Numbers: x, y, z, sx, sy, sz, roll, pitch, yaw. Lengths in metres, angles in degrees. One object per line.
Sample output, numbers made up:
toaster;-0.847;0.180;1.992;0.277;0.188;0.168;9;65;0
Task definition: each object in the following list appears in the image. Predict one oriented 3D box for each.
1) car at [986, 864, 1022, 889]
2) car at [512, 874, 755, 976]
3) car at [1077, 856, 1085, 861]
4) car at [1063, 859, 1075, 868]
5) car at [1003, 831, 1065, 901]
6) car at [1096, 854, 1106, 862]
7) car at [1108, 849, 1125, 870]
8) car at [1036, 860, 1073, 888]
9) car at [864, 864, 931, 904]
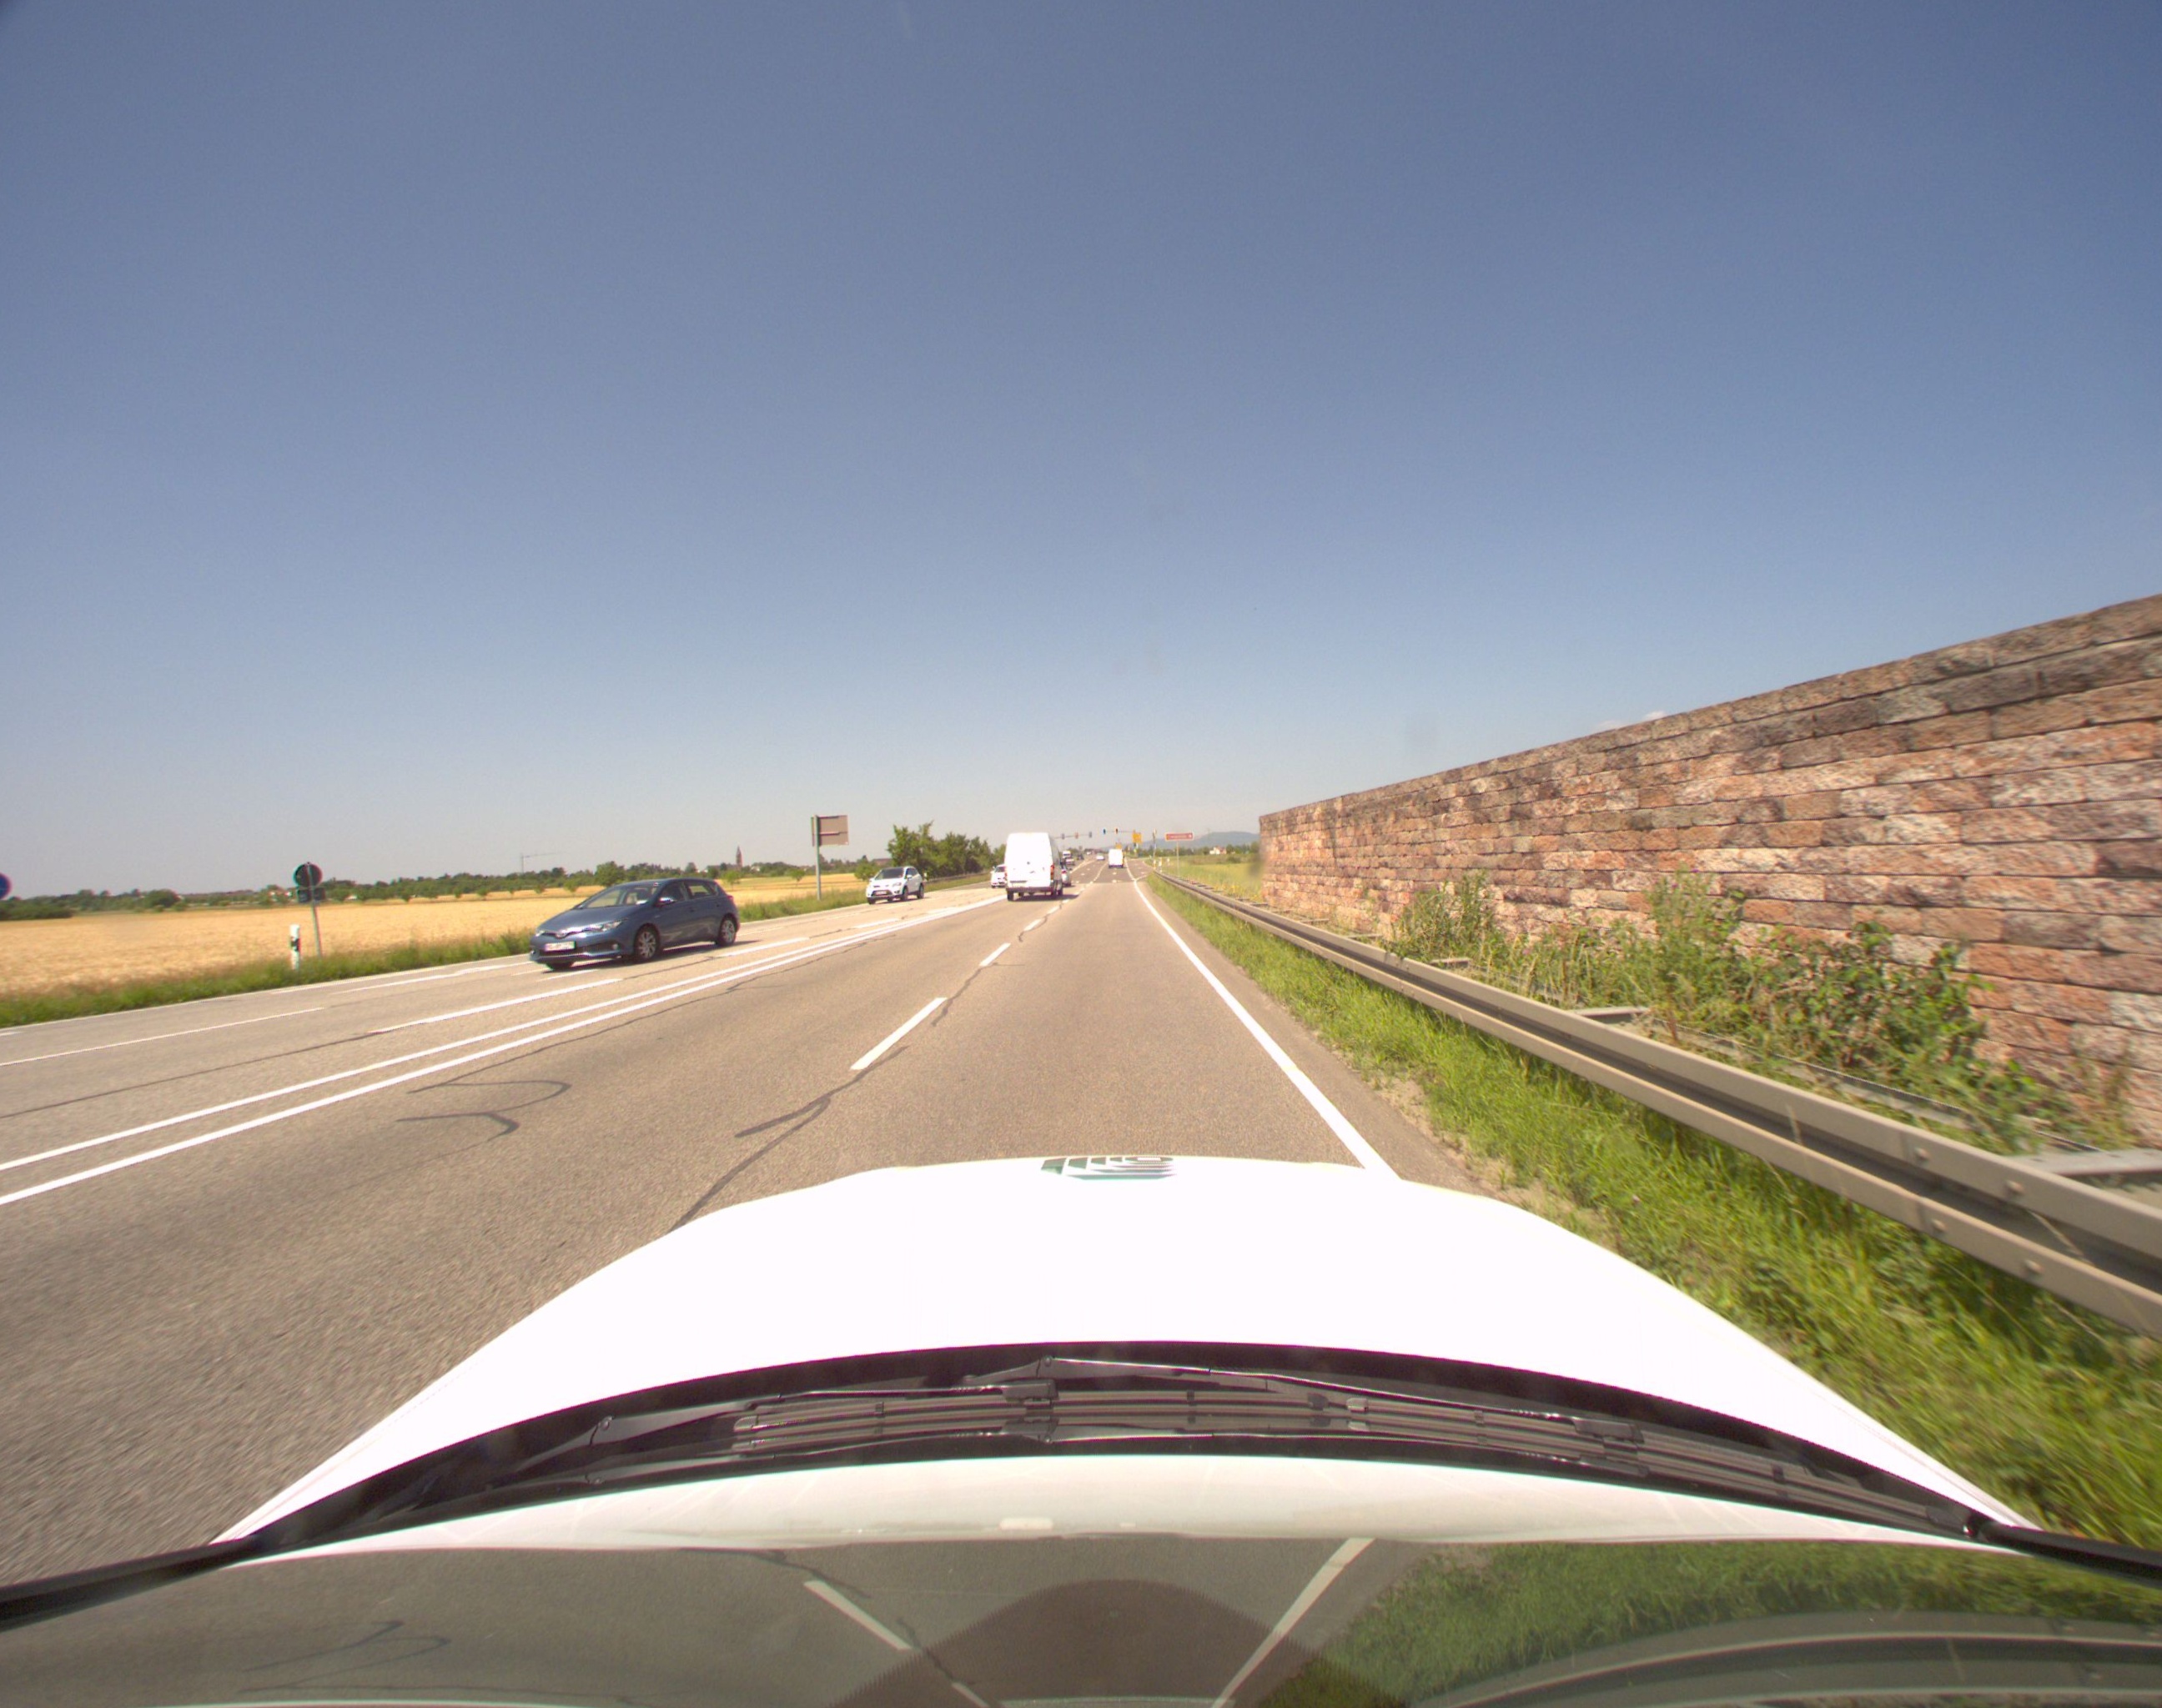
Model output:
car;-4.927;1.434;52.454;1.742;1.442;4.083;-4;-1;2
car;-8.082;1.198;15.241;1.750;1.457;4.239;-4;-1;7
car;0.014;1.215;214.411;1.849;1.423;4.004;-2;-1;4
car;-2.091;1.593;143.058;1.849;1.423;4.004;-4;0;4
car;-1.847;0.512;33.900;2.031;2.620;5.743;-1;-1;2
car;4.476;0.812;183.427;1.985;1.703;4.278;-1;-1;3
car;4.802;0.772;110.199;1.986;2.695;4.972;-4;-1;2
car;-1.504;1.130;47.964;1.792;1.508;4.198;-2;0;2
car;-8.895;1.422;39.894;1.656;1.676;4.472;-4;0;8
